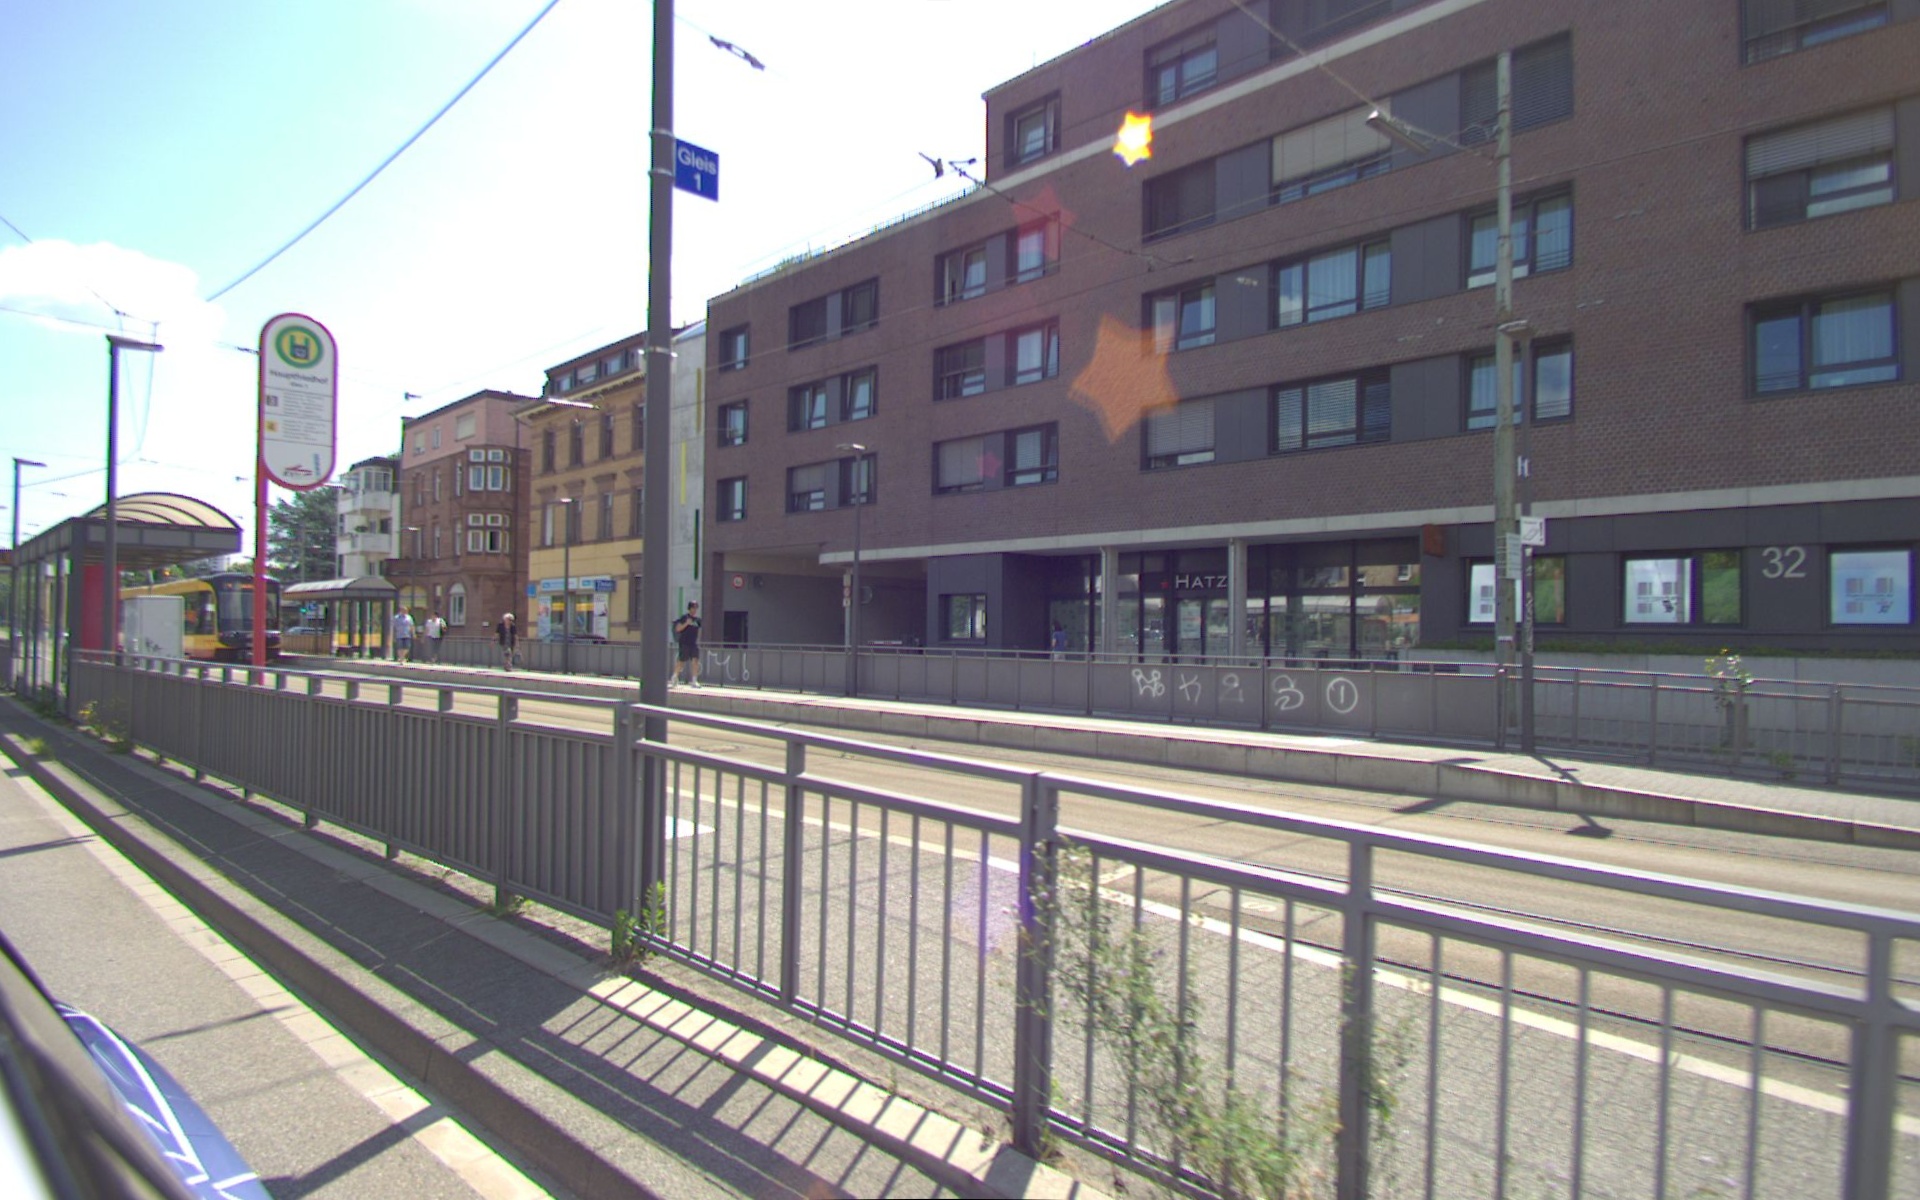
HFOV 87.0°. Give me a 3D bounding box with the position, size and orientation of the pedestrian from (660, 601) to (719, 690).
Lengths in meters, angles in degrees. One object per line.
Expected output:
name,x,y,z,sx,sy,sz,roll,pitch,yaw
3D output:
pedestrian,-5.563,0.927,20.781,1.033,1.773,0.678,-1,-3,43

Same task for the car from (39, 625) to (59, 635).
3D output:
car,-136.717,4.528,151.876,4.823,1.461,1.971,-1,-2,45

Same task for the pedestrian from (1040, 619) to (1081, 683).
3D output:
pedestrian,2.566,1.297,25.794,0.761,1.608,0.678,-1,-3,42

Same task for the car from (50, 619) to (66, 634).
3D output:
car,-156.728,4.617,175.829,4.000,2.608,1.721,-2,-3,43

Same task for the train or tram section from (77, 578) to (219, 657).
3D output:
train or tram section,-44.116,0.960,54.467,20.505,3.594,3.214,-1,-3,44

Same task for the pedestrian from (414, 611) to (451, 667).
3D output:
pedestrian,-16.380,1.223,31.415,0.809,1.708,0.752,-1,-3,42

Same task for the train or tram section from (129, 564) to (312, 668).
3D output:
train or tram section,-30.980,0.712,41.856,16.352,3.594,3.199,-1,-3,44

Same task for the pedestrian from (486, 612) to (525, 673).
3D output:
pedestrian,-12.296,1.152,27.391,0.761,1.608,0.678,-1,-3,42

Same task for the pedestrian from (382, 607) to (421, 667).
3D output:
pedestrian,-17.339,1.153,31.402,0.952,1.813,0.752,-1,-3,43
